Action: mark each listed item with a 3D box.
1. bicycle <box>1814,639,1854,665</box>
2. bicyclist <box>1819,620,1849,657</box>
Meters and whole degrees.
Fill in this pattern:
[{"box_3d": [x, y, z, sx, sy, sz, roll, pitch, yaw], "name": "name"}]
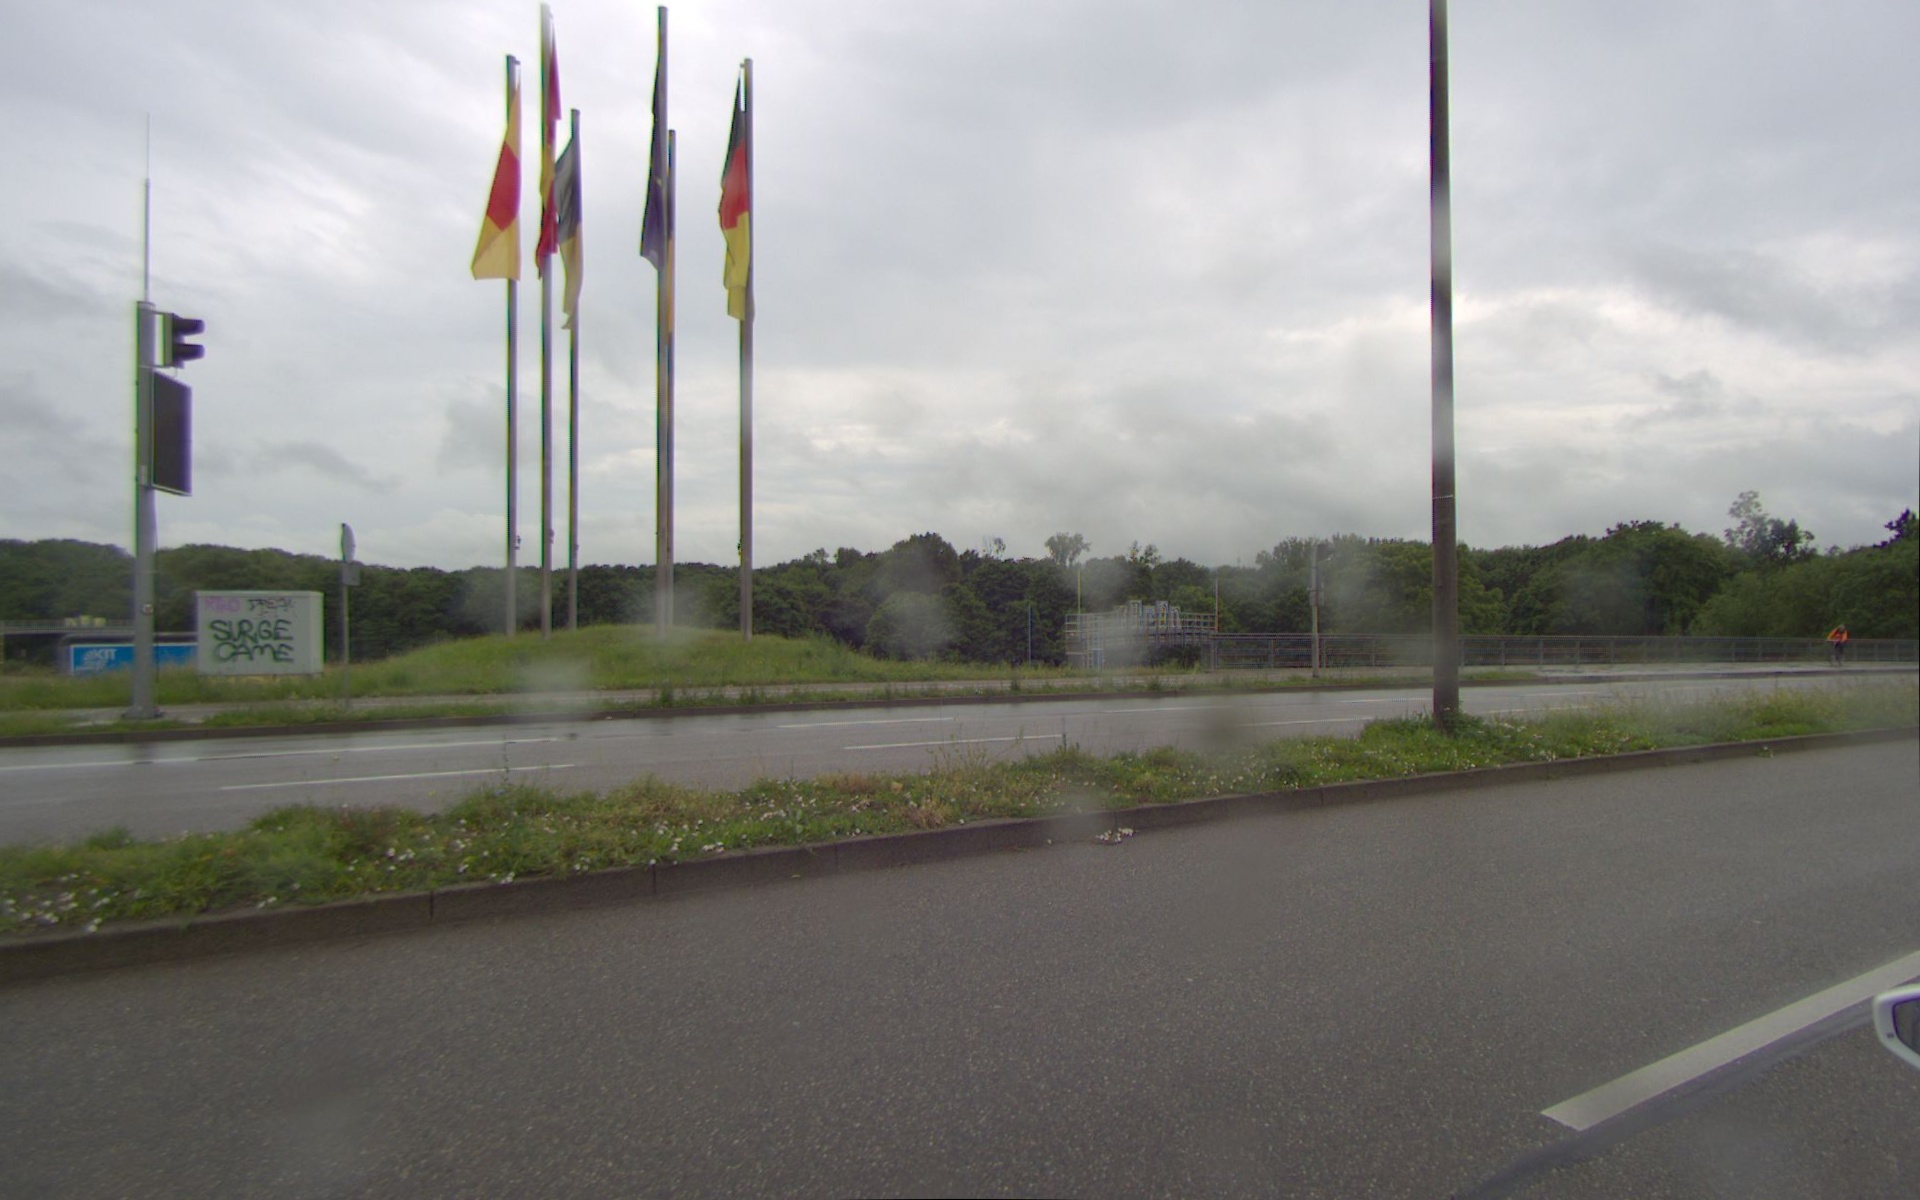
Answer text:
[{"box_3d": [37.008, 2.200, 42.537, 1.976, 1.047, 0.606, 2, 0, -29], "name": "bicycle"}, {"box_3d": [37.025, 1.630, 42.536, 0.990, 1.520, 0.617, 2, 0, -28], "name": "bicyclist"}]
